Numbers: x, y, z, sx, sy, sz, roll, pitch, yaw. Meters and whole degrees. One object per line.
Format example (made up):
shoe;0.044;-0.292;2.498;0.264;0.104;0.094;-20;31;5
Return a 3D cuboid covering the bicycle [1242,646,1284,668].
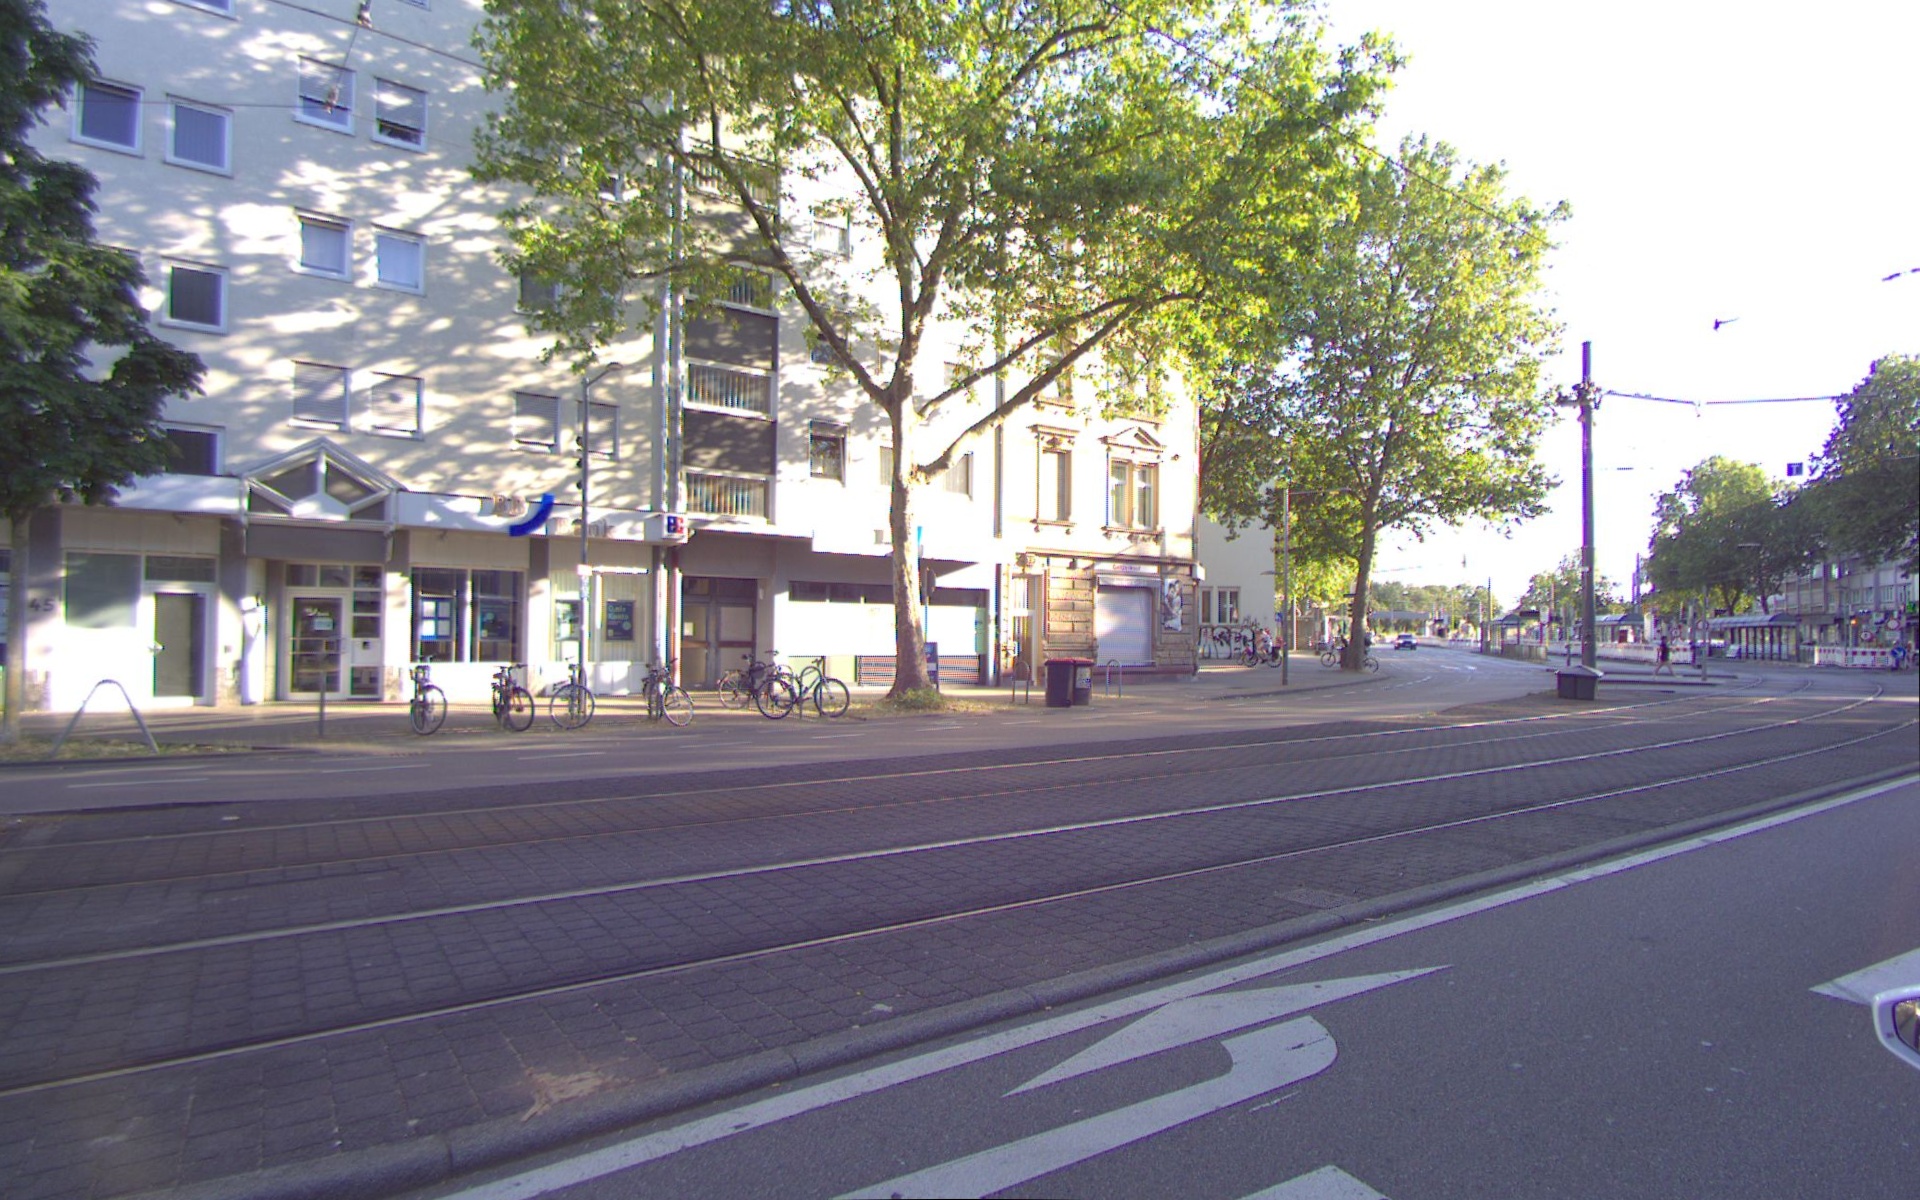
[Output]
bicycle;14.443;2.728;47.895;1.876;1.018;0.620;0;-2;18

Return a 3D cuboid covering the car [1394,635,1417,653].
car;43.922;4.324;99.015;1.962;1.661;3.997;0;-2;25

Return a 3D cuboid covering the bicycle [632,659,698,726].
bicycle;-5.063;1.553;17.173;0.584;1.002;1.729;2;-1;-34

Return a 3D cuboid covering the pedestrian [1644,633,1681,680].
pedestrian;26.287;2.115;37.585;0.639;1.708;0.985;4;-2;-41

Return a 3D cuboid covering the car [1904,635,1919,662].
car;64.619;3.245;66.204;1.960;1.815;4.000;2;-1;20

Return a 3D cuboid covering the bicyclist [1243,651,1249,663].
bicyclist;14.287;2.862;50.186;0.303;0.597;0.280;0;-2;22

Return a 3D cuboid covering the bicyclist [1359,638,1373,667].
bicyclist;18.684;2.426;46.237;0.628;1.310;0.457;0;-2;22

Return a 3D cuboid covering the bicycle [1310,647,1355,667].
bicycle;18.715;2.859;50.476;1.992;0.950;0.757;-1;-2;36

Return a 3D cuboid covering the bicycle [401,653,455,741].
bicycle;-7.826;1.386;14.755;0.506;1.153;1.729;2;-1;-34

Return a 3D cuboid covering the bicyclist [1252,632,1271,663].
bicyclist;14.393;2.256;47.925;0.825;1.463;0.627;0;-2;18

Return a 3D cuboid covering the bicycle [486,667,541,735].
bicycle;-6.925;1.534;15.544;0.467;0.900;1.729;2;-1;-34

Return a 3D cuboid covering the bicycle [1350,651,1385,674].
bicycle;18.753;2.862;46.198;1.481;0.998;0.450;0;-2;22

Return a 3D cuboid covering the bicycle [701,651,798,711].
bicycle;-4.167;1.594;19.914;1.777;1.132;0.617;2;-2;-29

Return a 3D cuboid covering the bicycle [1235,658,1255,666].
bicycle;14.234;3.106;50.198;0.942;0.404;0.290;0;-2;22

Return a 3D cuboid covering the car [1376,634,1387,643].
car;79.451;7.245;189.336;1.814;1.706;3.716;0;-2;23

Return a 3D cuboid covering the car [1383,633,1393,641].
car;89.568;7.799;210.286;1.814;1.706;3.716;0;-2;23

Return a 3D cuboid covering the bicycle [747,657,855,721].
bicycle;-2.855;1.574;18.088;1.800;1.091;0.649;2;-2;-29

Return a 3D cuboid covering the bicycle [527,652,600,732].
bicycle;-6.361;1.435;16.073;0.724;1.128;1.729;2;-1;-34

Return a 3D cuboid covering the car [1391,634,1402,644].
car;78.772;7.081;181.353;1.814;1.706;3.715;-2;-2;23

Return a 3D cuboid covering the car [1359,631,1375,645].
car;54.435;5.019;134.269;1.765;1.820;3.998;0;-2;24

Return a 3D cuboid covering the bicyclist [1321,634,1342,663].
bicyclist;18.690;2.428;50.506;0.828;1.463;0.753;-1;-2;35
